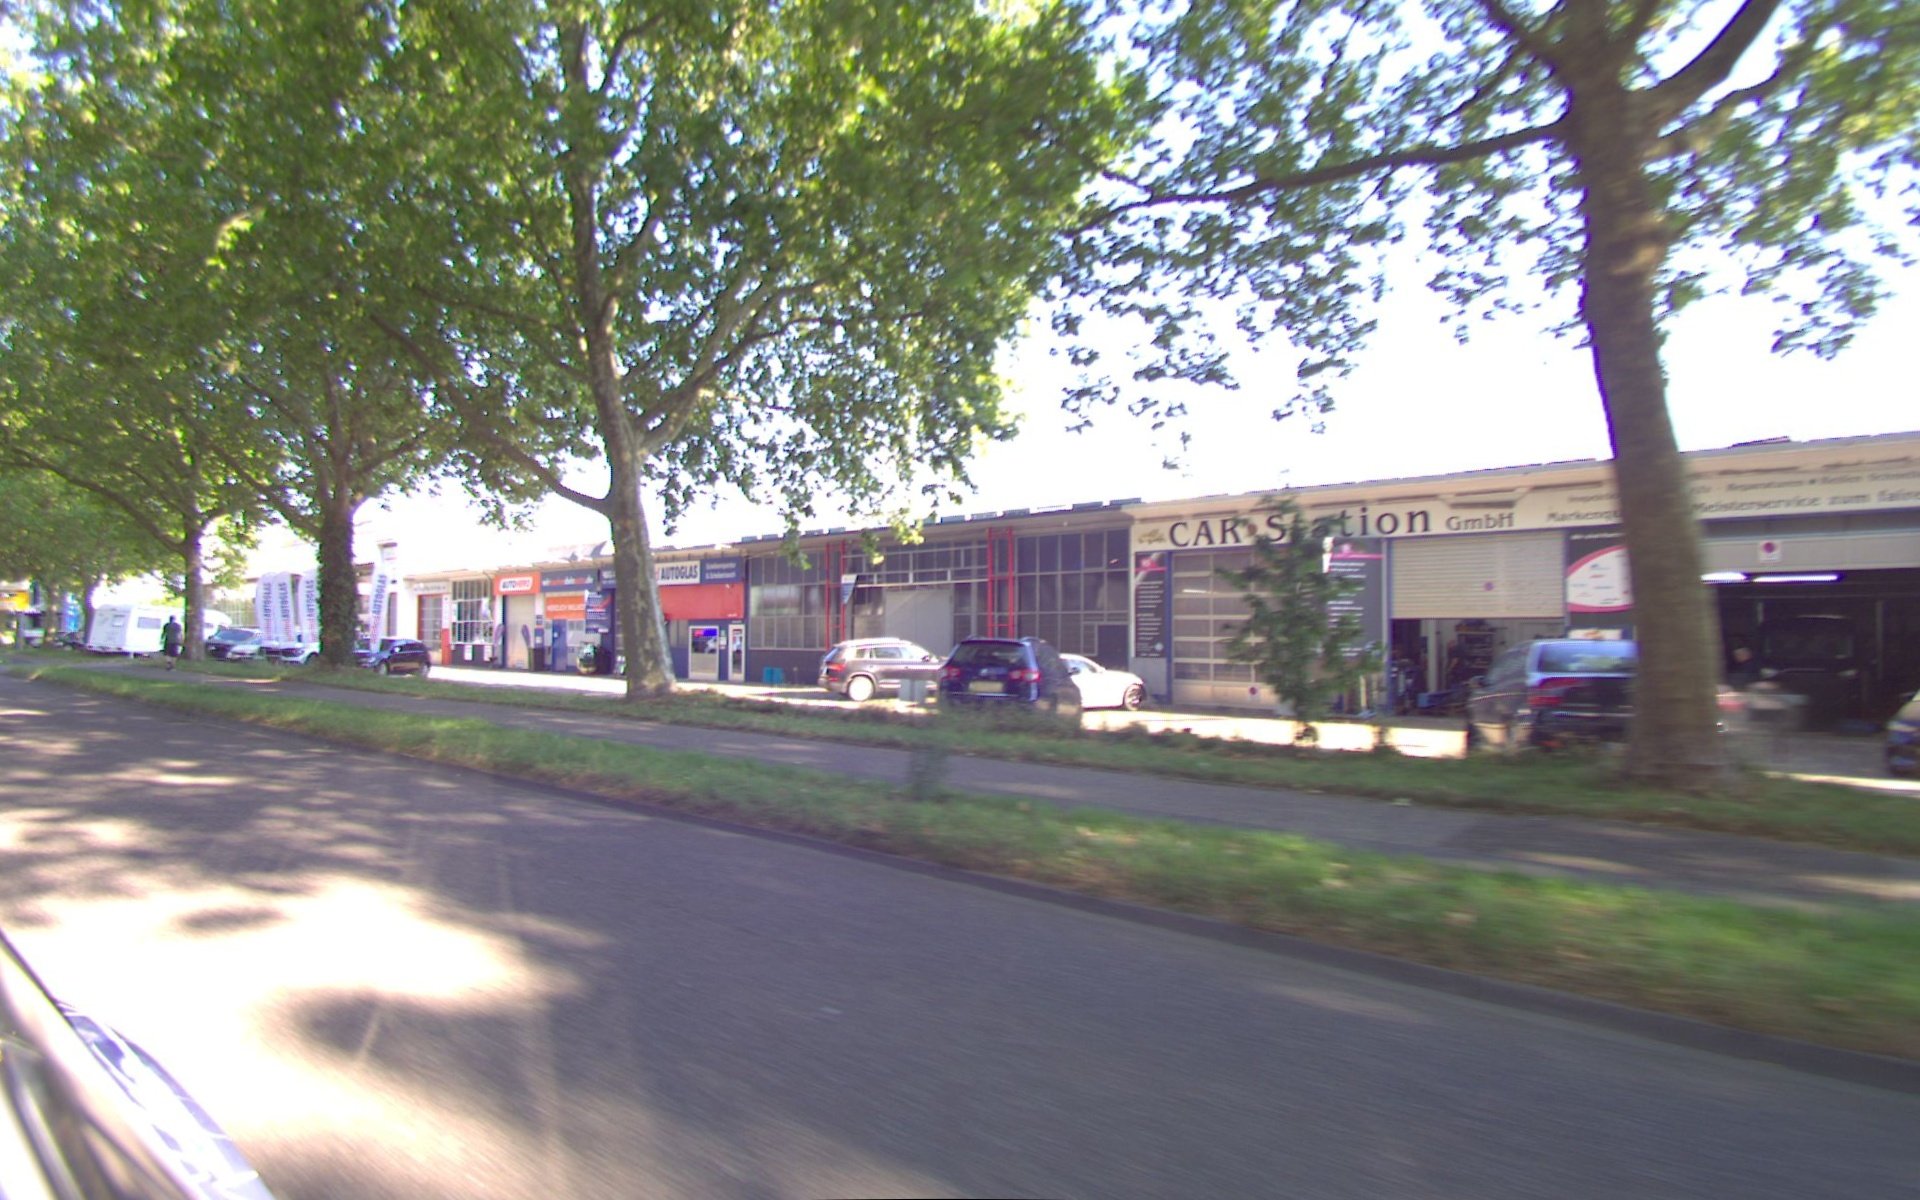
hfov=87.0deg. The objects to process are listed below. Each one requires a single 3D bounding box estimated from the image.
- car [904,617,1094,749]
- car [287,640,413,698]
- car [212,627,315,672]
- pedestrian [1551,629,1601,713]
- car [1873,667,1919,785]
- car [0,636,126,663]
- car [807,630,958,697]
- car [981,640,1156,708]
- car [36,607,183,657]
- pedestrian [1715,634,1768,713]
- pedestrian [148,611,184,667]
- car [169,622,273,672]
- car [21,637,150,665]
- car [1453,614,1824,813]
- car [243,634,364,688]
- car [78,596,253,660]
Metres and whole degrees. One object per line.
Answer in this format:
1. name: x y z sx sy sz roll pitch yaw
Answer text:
1. car: 0.843 1.223 16.882 1.983 1.773 4.872 -1 0 17
2. car: -19.494 2.162 32.550 1.970 1.586 3.847 -1 0 -5
3. car: -27.321 1.896 39.852 1.967 1.582 4.061 -1 0 -12
4. pedestrian: 13.050 1.482 21.432 0.770 1.689 0.785 -1 0 41
5. car: 14.812 1.738 14.401 4.403 1.331 2.004 -2 0 -39
6. car: -64.896 3.629 73.354 2.708 1.693 6.321 -2 -6 22
7. car: -2.271 1.792 29.379 3.931 1.719 2.007 -1 0 -22
8. car: 2.759 1.830 25.898 3.931 1.453 2.007 -1 0 -22
9. car: -49.864 1.962 59.603 2.574 2.517 6.302 -1 -5 11
10. pedestrian: 15.504 1.440 20.083 0.684 1.483 0.686 -1 0 -41
11. pedestrian: -26.011 1.261 33.146 0.940 1.786 0.795 -1 0 43
12. car: -30.856 1.909 42.421 1.967 1.854 4.259 -1 0 -12
13. car: -62.186 3.677 72.157 2.708 1.693 6.373 -2 -6 22
14. car: 6.617 0.957 10.518 1.983 1.541 4.326 -1 0 17
15. car: -24.860 2.264 38.510 1.971 1.764 4.315 -1 0 -3
16. car: -40.619 1.559 52.100 2.575 2.875 6.931 -1 -5 12
